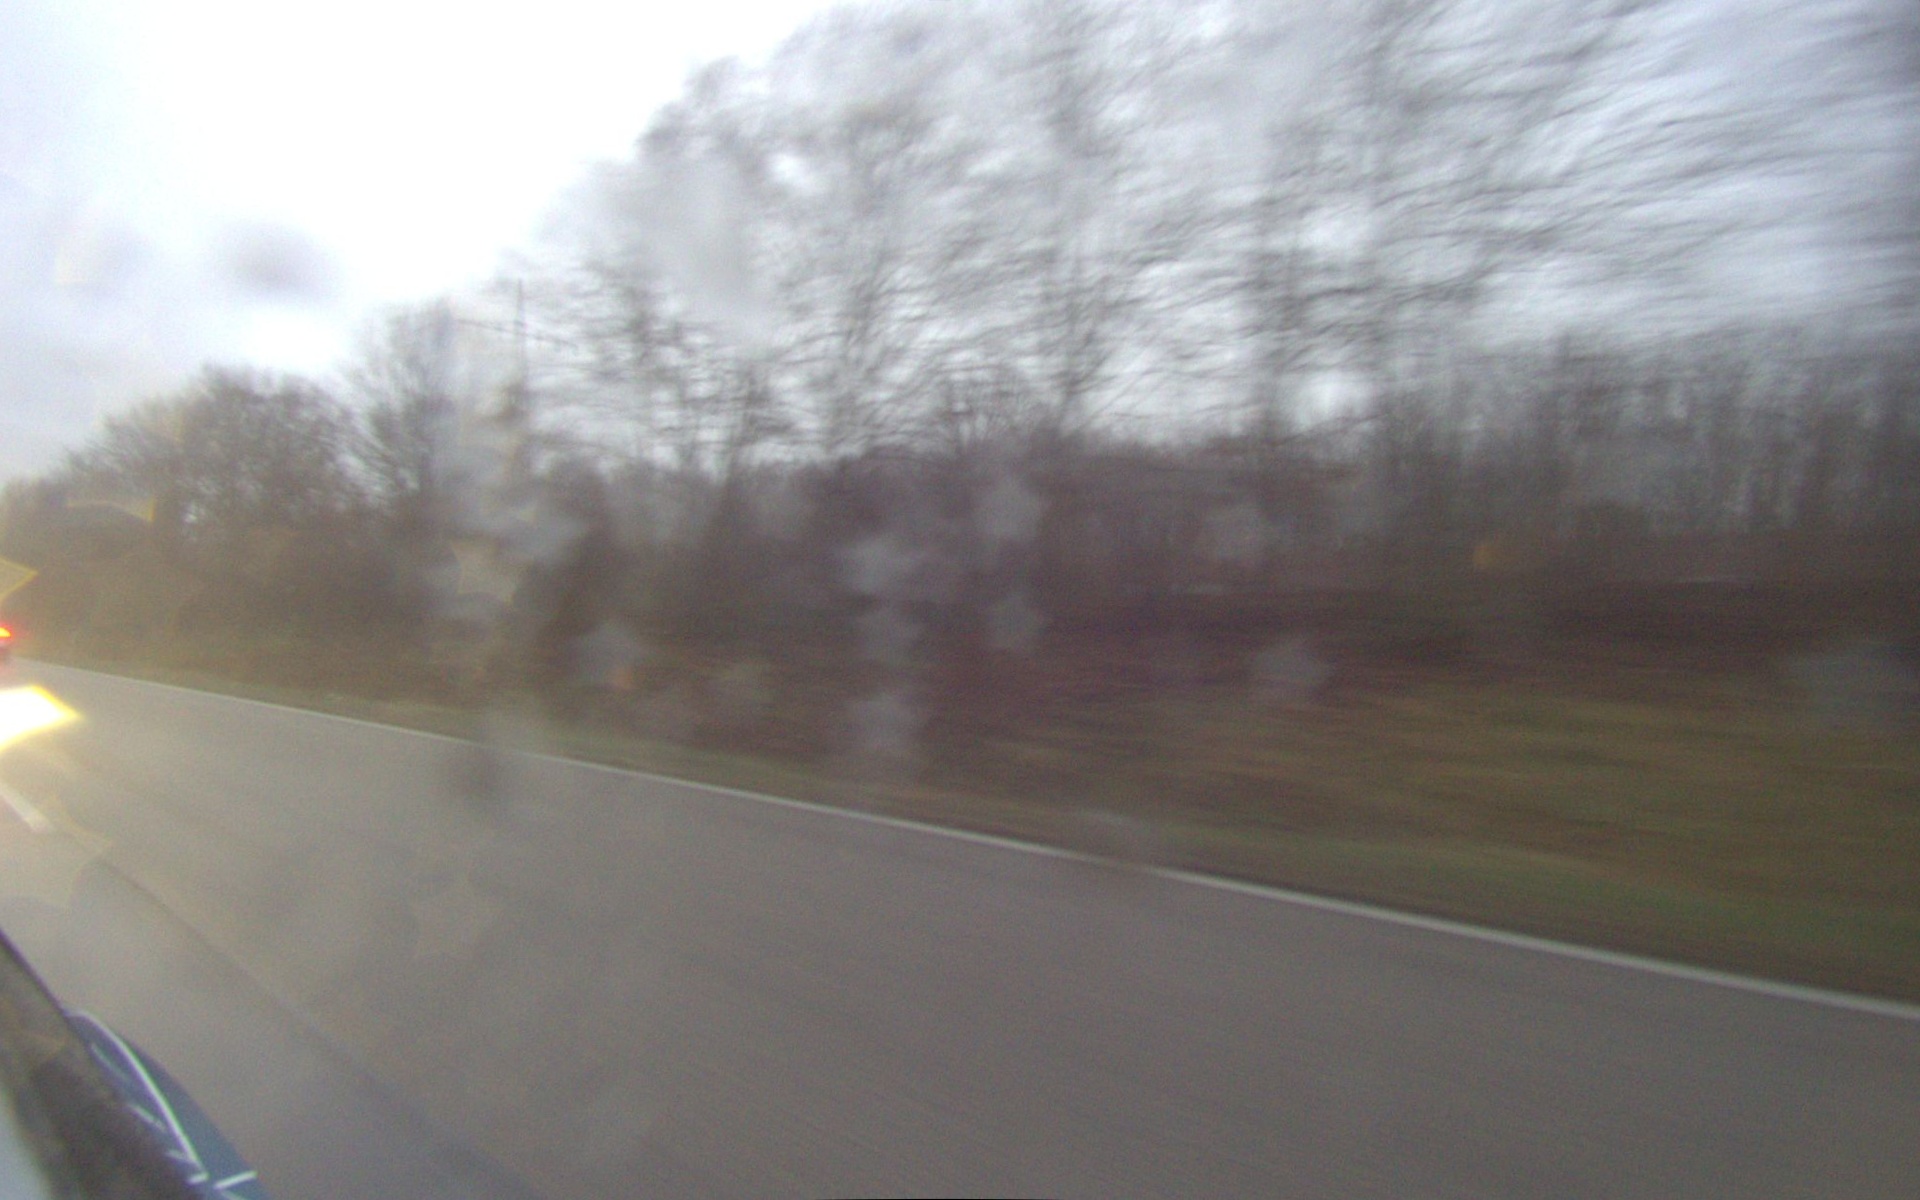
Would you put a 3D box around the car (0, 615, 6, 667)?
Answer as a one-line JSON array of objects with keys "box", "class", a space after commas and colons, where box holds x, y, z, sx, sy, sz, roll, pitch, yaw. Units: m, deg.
[{"box": [-32.434, 1.336, 32.737, 4.193, 1.619, 1.853, -1, -1, 41], "class": "car"}]
